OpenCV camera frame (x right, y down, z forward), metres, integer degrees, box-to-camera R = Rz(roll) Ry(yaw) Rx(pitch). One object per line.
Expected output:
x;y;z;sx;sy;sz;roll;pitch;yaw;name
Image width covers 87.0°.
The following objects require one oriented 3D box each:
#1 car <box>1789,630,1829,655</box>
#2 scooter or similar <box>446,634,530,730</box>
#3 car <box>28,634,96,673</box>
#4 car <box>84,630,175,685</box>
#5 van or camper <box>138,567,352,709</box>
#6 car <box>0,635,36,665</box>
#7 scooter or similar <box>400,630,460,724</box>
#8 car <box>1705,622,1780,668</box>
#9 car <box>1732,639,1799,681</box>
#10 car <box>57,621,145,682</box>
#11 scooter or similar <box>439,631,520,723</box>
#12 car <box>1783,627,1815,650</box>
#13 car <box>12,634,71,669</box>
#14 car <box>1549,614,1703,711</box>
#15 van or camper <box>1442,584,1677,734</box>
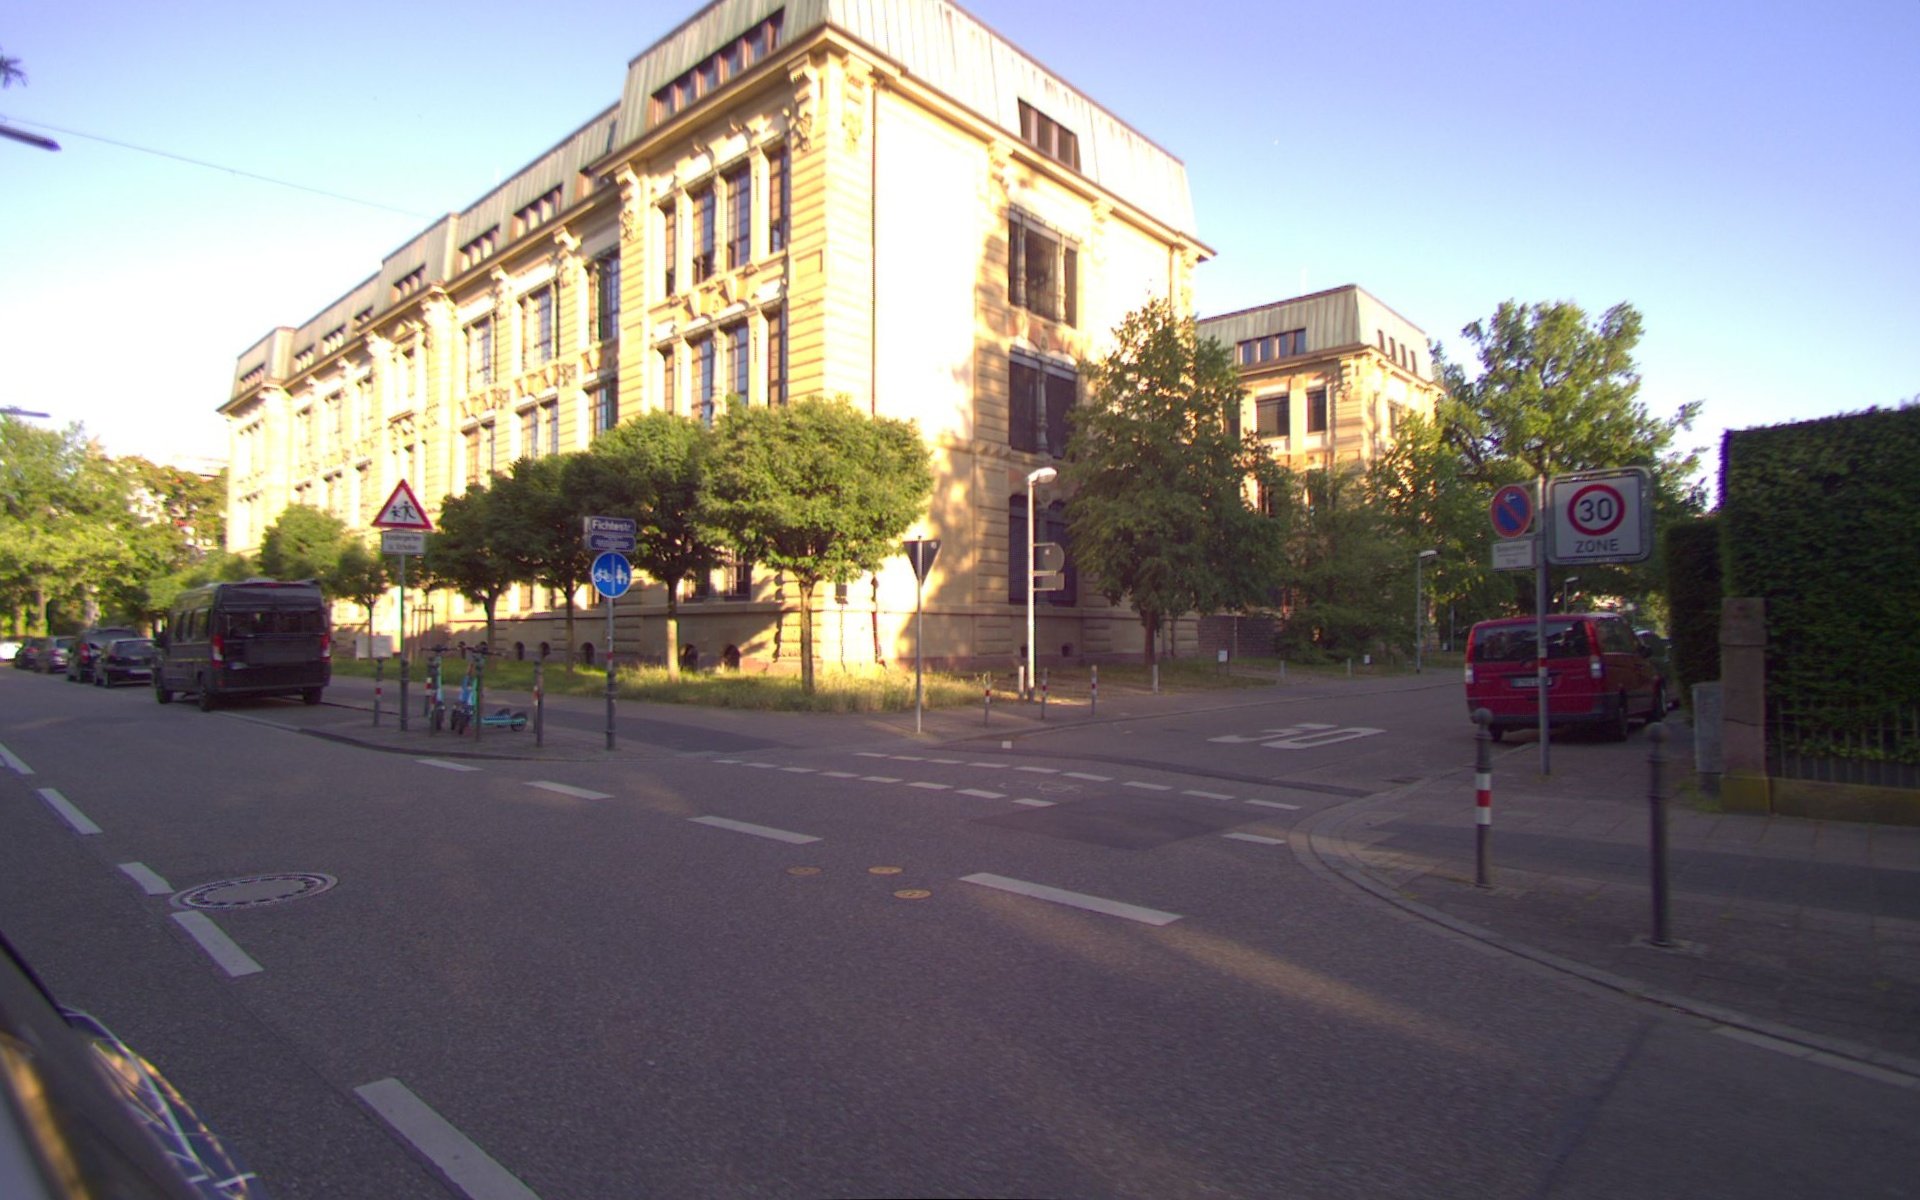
57.276;2.852;68.265;1.999;1.590;3.945;-1;-2;41;car
-6.683;1.128;14.380;0.427;1.284;1.341;0;-1;7;scooter or similar
-37.221;2.162;41.909;4.377;1.507;1.700;-1;-2;43;car
-25.051;1.682;30.489;3.855;1.481;1.677;-1;0;44;car
-15.380;0.738;21.542;7.077;2.563;2.206;-1;-1;42;van or camper
-51.823;2.700;55.283;3.923;1.507;1.600;-1;-2;42;car
-7.725;1.094;14.801;0.425;1.284;1.347;0;-1;-13;scooter or similar
29.134;1.638;37.637;1.999;1.590;3.945;-1;-2;41;car
33.345;2.436;41.872;1.999;1.590;3.945;-1;-2;41;car
-29.373;1.720;34.553;4.332;1.880;1.758;-2;0;43;car
-7.082;1.099;14.965;0.427;1.284;1.341;0;-1;7;scooter or similar
65.389;2.955;78.826;1.858;1.630;3.946;-1;-1;40;car
-42.217;2.335;46.487;4.376;1.507;1.600;-1;-2;42;car
13.063;1.139;19.755;1.920;1.686;3.944;-2;-2;42;car
9.567;0.928;15.966;2.000;2.001;4.715;-8;-7;44;van or camper
